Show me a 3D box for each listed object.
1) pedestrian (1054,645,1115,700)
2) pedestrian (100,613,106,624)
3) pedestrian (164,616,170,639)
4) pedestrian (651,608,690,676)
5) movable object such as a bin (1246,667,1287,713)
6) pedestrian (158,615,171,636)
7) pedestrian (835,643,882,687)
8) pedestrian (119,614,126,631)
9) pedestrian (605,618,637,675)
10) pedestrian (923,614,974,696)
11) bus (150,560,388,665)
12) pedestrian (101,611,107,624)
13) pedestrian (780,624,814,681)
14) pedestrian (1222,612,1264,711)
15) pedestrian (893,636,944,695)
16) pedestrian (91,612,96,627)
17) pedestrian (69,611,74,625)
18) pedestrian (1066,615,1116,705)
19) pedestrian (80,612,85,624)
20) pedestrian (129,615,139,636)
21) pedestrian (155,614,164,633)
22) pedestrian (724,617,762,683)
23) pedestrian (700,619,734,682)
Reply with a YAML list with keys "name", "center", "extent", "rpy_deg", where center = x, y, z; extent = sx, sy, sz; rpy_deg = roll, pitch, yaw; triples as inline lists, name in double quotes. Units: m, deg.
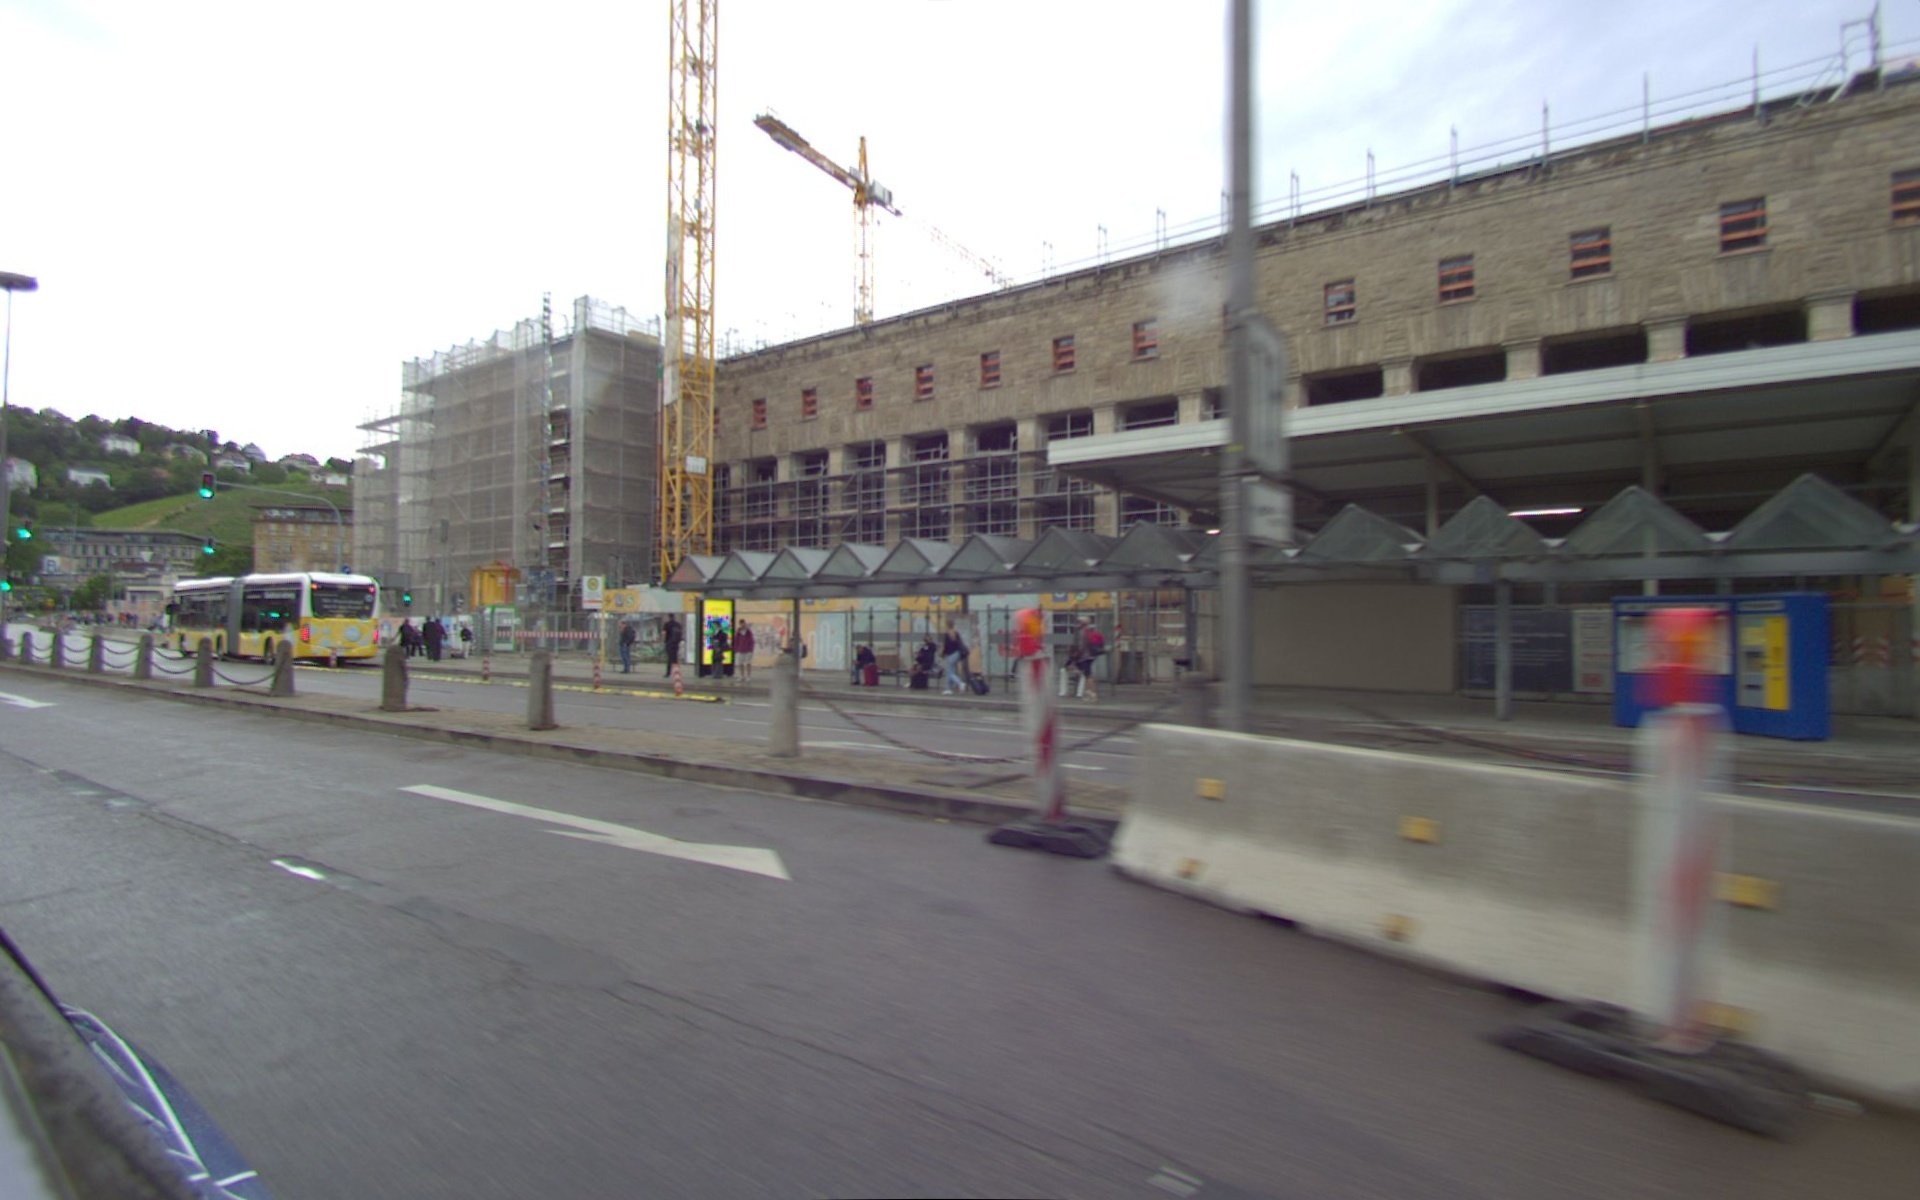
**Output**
- name: "pedestrian"
  center: [2.832, 1.626, 23.008]
  extent: [1.053, 1.167, 0.941]
  rpy_deg: [-1, -2, 37]
- name: "pedestrian"
  center: [-96.142, 2.098, 113.540]
  extent: [0.413, 1.250, 0.433]
  rpy_deg: [-1, -2, 41]
- name: "pedestrian"
  center: [-61.373, 2.098, 78.294]
  extent: [0.346, 1.783, 0.307]
  rpy_deg: [-1, -2, 42]
- name: "pedestrian"
  center: [-8.533, 1.227, 29.853]
  extent: [0.820, 1.973, 0.753]
  rpy_deg: [0, -1, 34]
- name: "movable object such as a bin"
  center: [5.635, 1.653, 18.628]
  extent: [0.503, 0.795, 0.635]
  rpy_deg: [1, -2, -8]
- name: "pedestrian"
  center: [-67.284, 2.150, 85.594]
  extent: [0.617, 1.698, 0.796]
  rpy_deg: [-1, -2, 41]
- name: "pedestrian"
  center: [-2.696, 1.721, 26.937]
  extent: [0.924, 1.101, 0.836]
  rpy_deg: [-1, -2, 36]
- name: "pedestrian"
  center: [-79.423, 2.143, 95.991]
  extent: [0.413, 1.628, 0.433]
  rpy_deg: [-1, -2, 38]
- name: "pedestrian"
  center: [-10.845, 1.474, 32.378]
  extent: [0.690, 1.804, 0.795]
  rpy_deg: [1, -2, -41]
- name: "pedestrian"
  center: [-0.265, 1.211, 22.708]
  extent: [0.861, 1.804, 0.766]
  rpy_deg: [-1, -2, 44]
- name: "bus"
  center: [-29.307, 0.582, 42.091]
  extent: [19.059, 3.605, 2.880]
  rpy_deg: [-1, -3, 40]
- name: "pedestrian"
  center: [-90.559, 1.893, 107.071]
  extent: [0.432, 1.362, 0.414]
  rpy_deg: [1, -2, -43]
- name: "pedestrian"
  center: [-4.766, 1.518, 29.550]
  extent: [0.802, 1.643, 0.552]
  rpy_deg: [-1, -2, 29]
- name: "pedestrian"
  center: [5.424, 1.167, 19.423]
  extent: [0.549, 1.862, 0.679]
  rpy_deg: [1, -2, -8]
- name: "pedestrian"
  center: [-1.050, 1.645, 25.778]
  extent: [0.829, 1.443, 1.045]
  rpy_deg: [-1, -2, 35]
- name: "pedestrian"
  center: [-96.631, 2.193, 112.889]
  extent: [0.356, 1.628, 0.370]
  rpy_deg: [-1, -2, 38]
- name: "pedestrian"
  center: [-105.431, 2.120, 120.128]
  extent: [0.432, 1.628, 0.414]
  rpy_deg: [1, -2, -43]
- name: "pedestrian"
  center: [2.701, 1.211, 20.878]
  extent: [0.661, 1.804, 0.785]
  rpy_deg: [1, -2, -37]
- name: "pedestrian"
  center: [-107.888, 2.199, 124.478]
  extent: [0.432, 1.512, 0.414]
  rpy_deg: [1, -2, -38]
- name: "pedestrian"
  center: [-79.395, 2.445, 97.279]
  extent: [0.685, 2.049, 0.586]
  rpy_deg: [-1, -2, 38]
- name: "pedestrian"
  center: [-73.829, 2.134, 93.338]
  extent: [0.462, 1.768, 0.511]
  rpy_deg: [0, -1, 38]
- name: "pedestrian"
  center: [-6.085, 1.379, 28.364]
  extent: [0.745, 1.804, 0.718]
  rpy_deg: [-1, -2, 31]
- name: "pedestrian"
  center: [-7.099, 1.472, 29.547]
  extent: [0.802, 1.804, 0.552]
  rpy_deg: [-1, -2, 29]
